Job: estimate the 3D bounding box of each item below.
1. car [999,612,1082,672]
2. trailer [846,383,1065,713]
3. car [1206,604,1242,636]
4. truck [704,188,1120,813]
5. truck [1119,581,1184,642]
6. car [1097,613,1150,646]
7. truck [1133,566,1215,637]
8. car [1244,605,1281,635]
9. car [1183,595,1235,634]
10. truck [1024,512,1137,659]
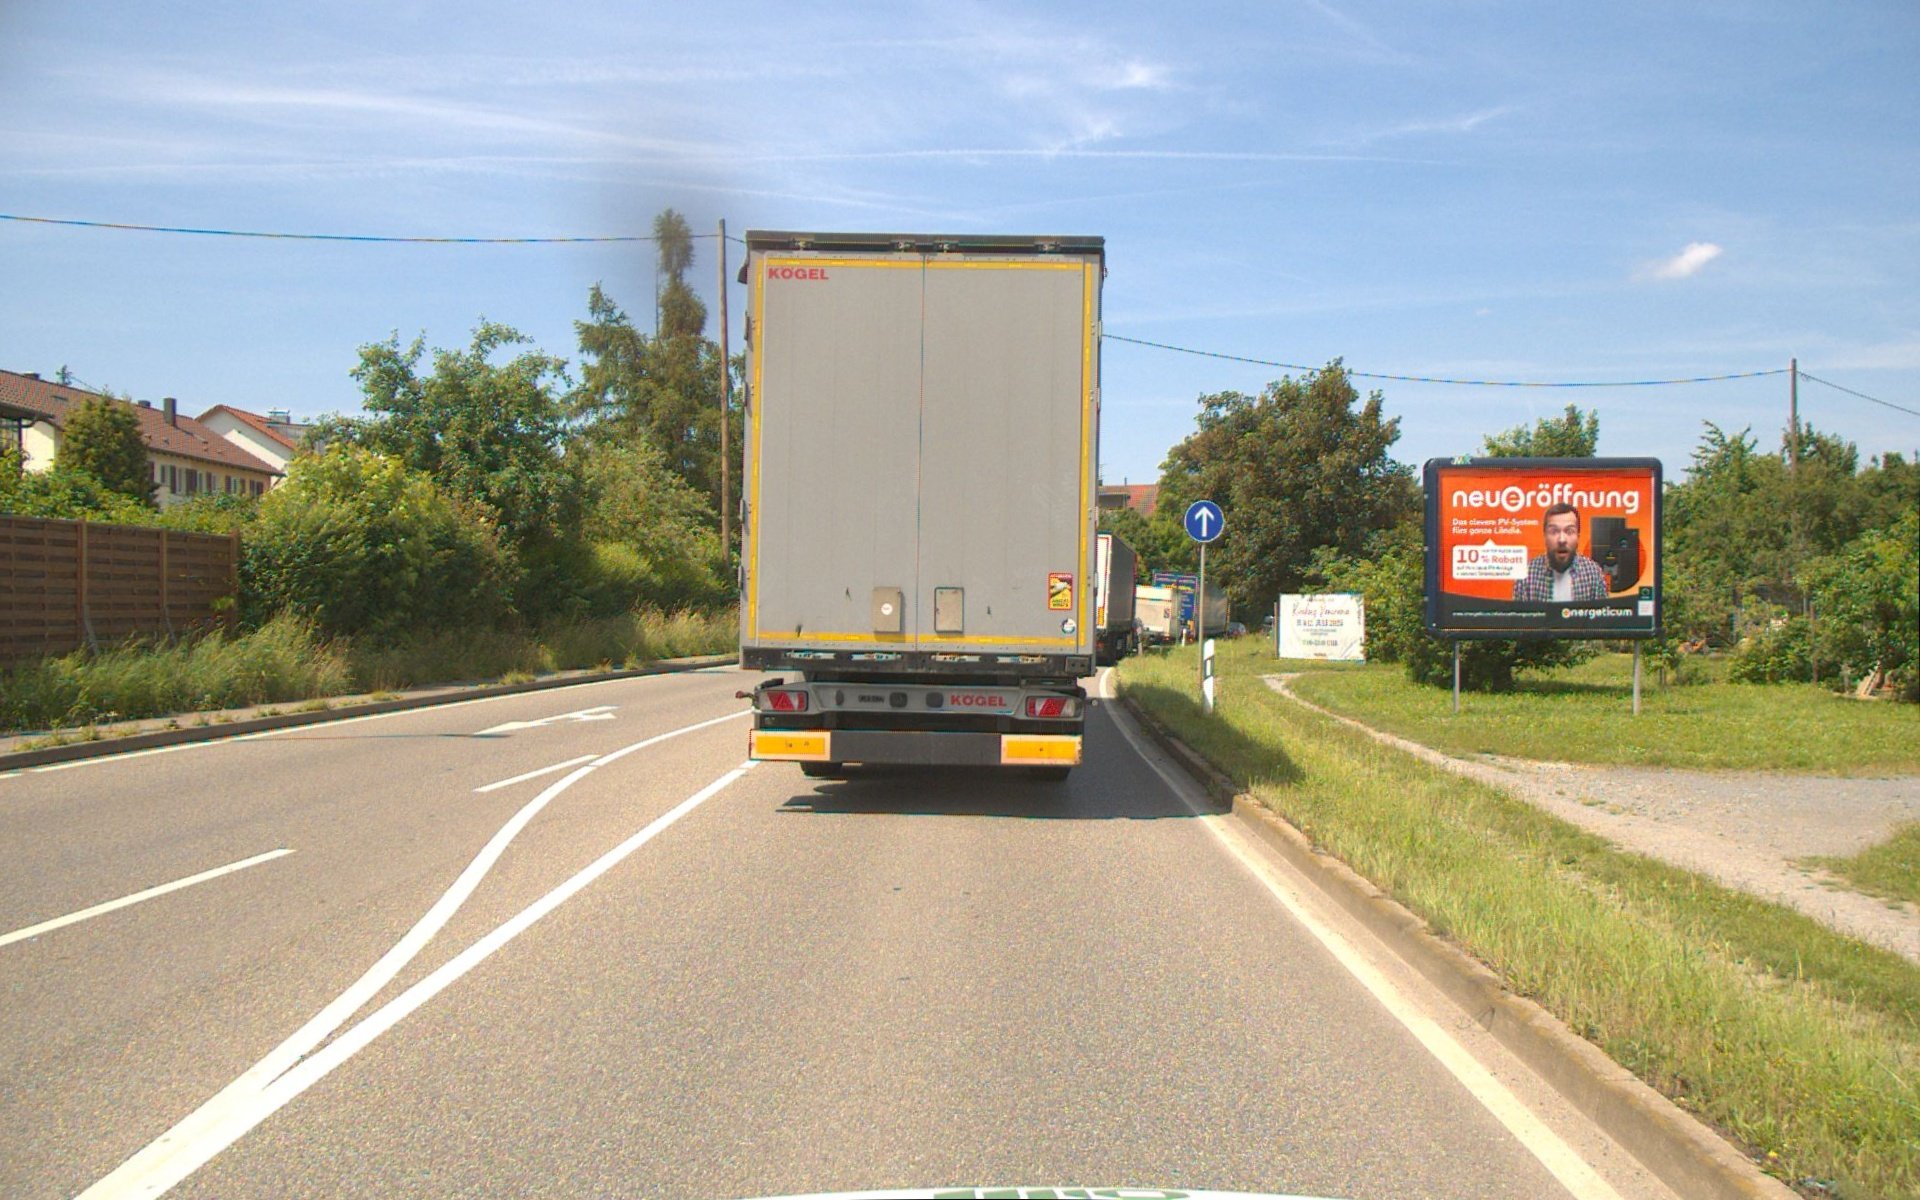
[{"bbox_3d":[2.033,1.006,40.836,1.780,1.370,3.850,1,-1,7],"label":"car"},{"bbox_3d":[0.080,-0.677,24.379,2.766,4.183,6.546,1,0,2],"label":"trailer"},{"bbox_3d":[17.510,1.316,109.716,1.951,2.049,4.003,1,-1,15],"label":"car"},{"bbox_3d":[-0.174,-0.704,16.968,2.763,4.200,11.446,1,0,2],"label":"truck"},{"bbox_3d":[9.547,0.594,81.987,2.489,2.852,6.036,1,-1,13],"label":"truck"},{"bbox_3d":[7.348,1.312,73.944,1.951,1.400,4.003,1,-1,11],"label":"car"},{"bbox_3d":[12.016,0.051,92.043,3.360,3.667,9.361,1,0,14],"label":"truck"},{"bbox_3d":[21.735,1.453,118.818,1.952,2.049,4.001,1,-1,19],"label":"car"},{"bbox_3d":[15.589,0.902,103.323,2.478,2.317,6.386,1,0,15],"label":"car"},{"bbox_3d":[4.477,-0.309,57.627,2.701,4.364,16.427,1,-1,8],"label":"truck"}]
